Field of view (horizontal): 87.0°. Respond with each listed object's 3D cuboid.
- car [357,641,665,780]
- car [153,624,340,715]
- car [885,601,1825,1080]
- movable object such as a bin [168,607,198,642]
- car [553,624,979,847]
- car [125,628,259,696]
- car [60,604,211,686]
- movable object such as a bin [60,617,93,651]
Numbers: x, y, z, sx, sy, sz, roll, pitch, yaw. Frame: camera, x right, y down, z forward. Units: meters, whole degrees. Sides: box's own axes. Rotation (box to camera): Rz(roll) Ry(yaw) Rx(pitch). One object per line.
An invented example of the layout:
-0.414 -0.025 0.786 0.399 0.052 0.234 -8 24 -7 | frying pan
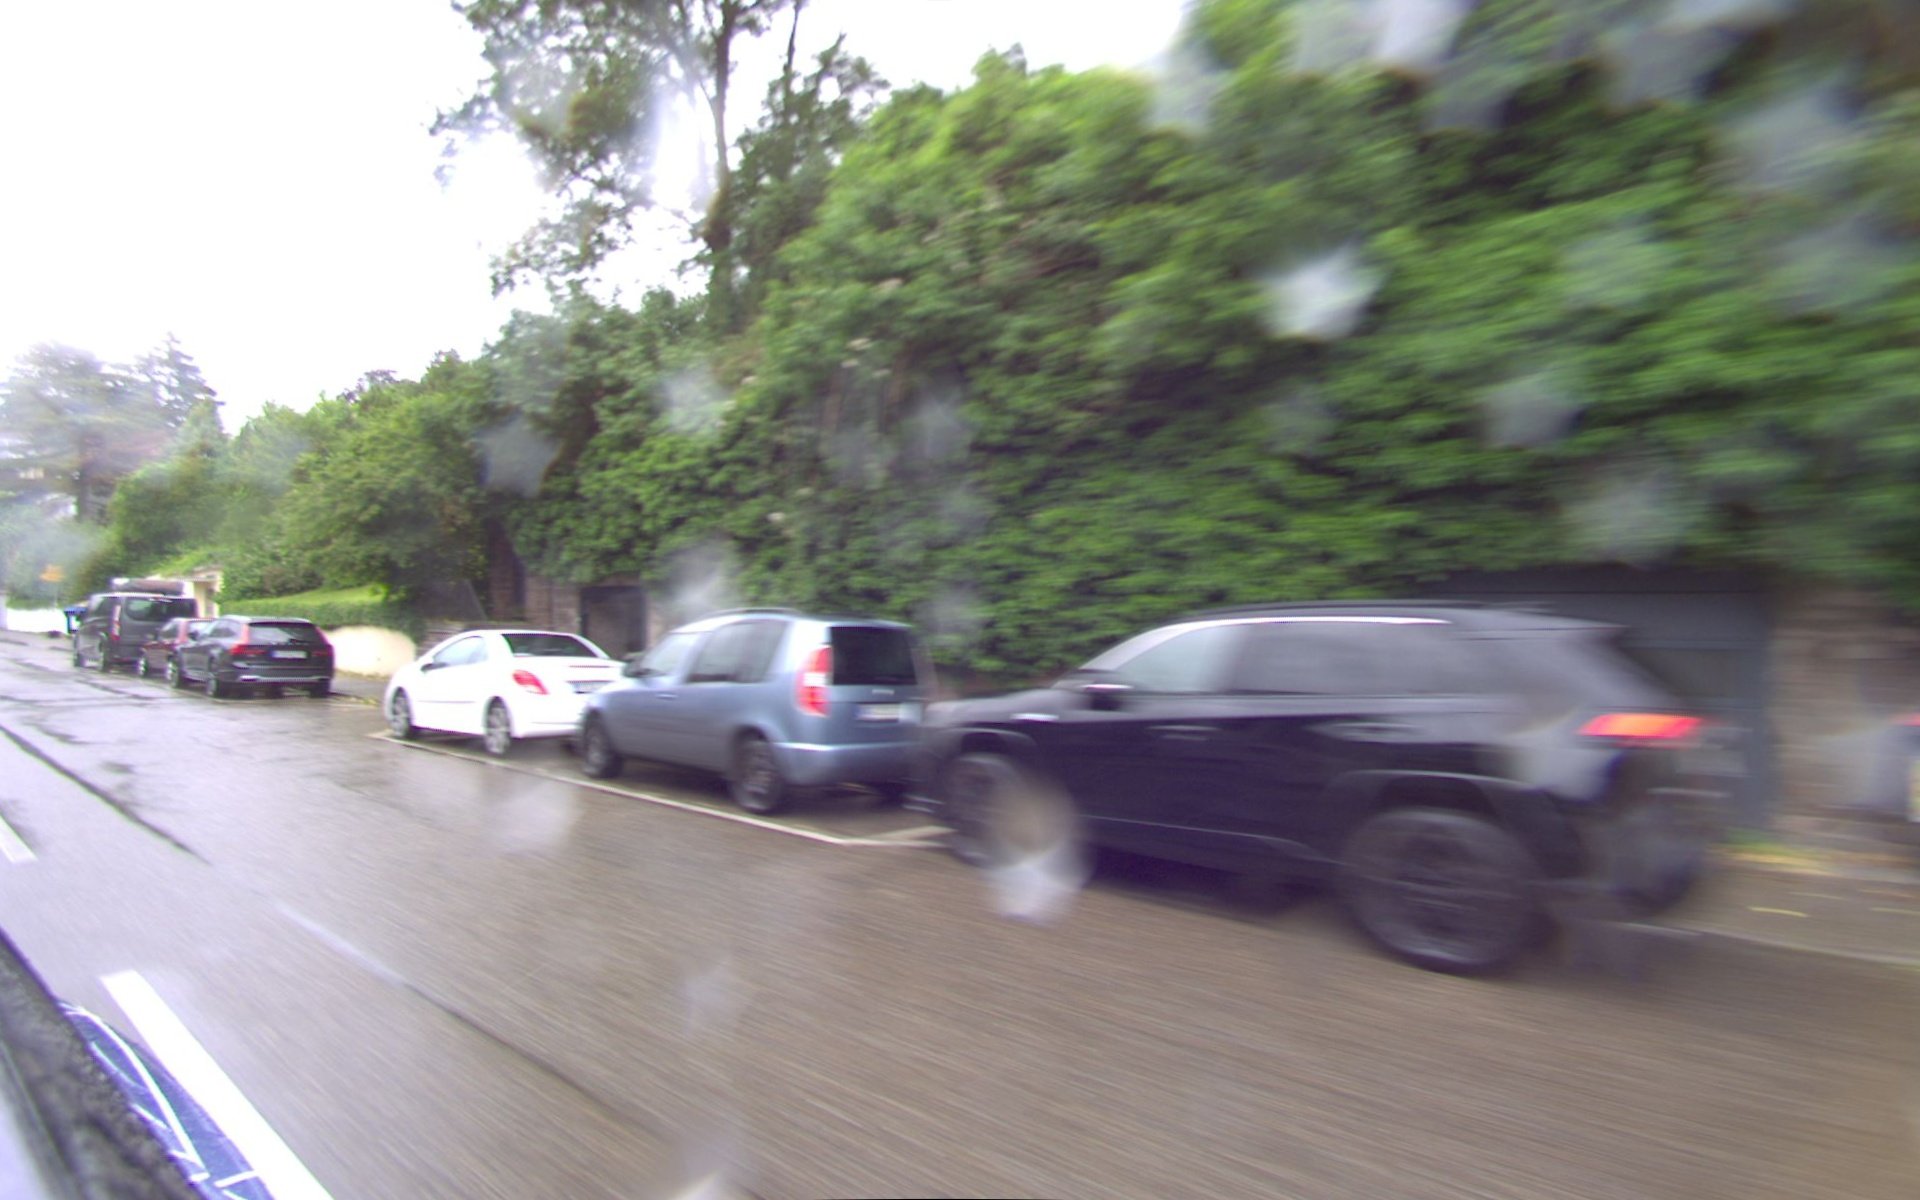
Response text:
-5.511 1.220 12.222 4.079 1.376 1.699 -1 -4 39 | car
-13.948 1.286 19.678 4.754 1.492 1.888 0 -4 42 | car
1.849 0.924 5.744 4.592 1.638 1.854 -1 -5 42 | car
-32.015 1.008 41.697 1.134 1.392 0.811 -1 -1 43 | movable object such as a bin
-1.938 1.042 9.291 4.109 1.573 1.722 -1 -4 43 | car
-17.672 1.370 23.234 3.903 1.375 1.549 0 -3 39 | car
-21.770 1.109 26.641 5.320 1.933 2.136 0 -2 41 | car
-40.374 1.525 46.255 0.860 1.456 0.924 1 3 37 | movable object such as a bin
